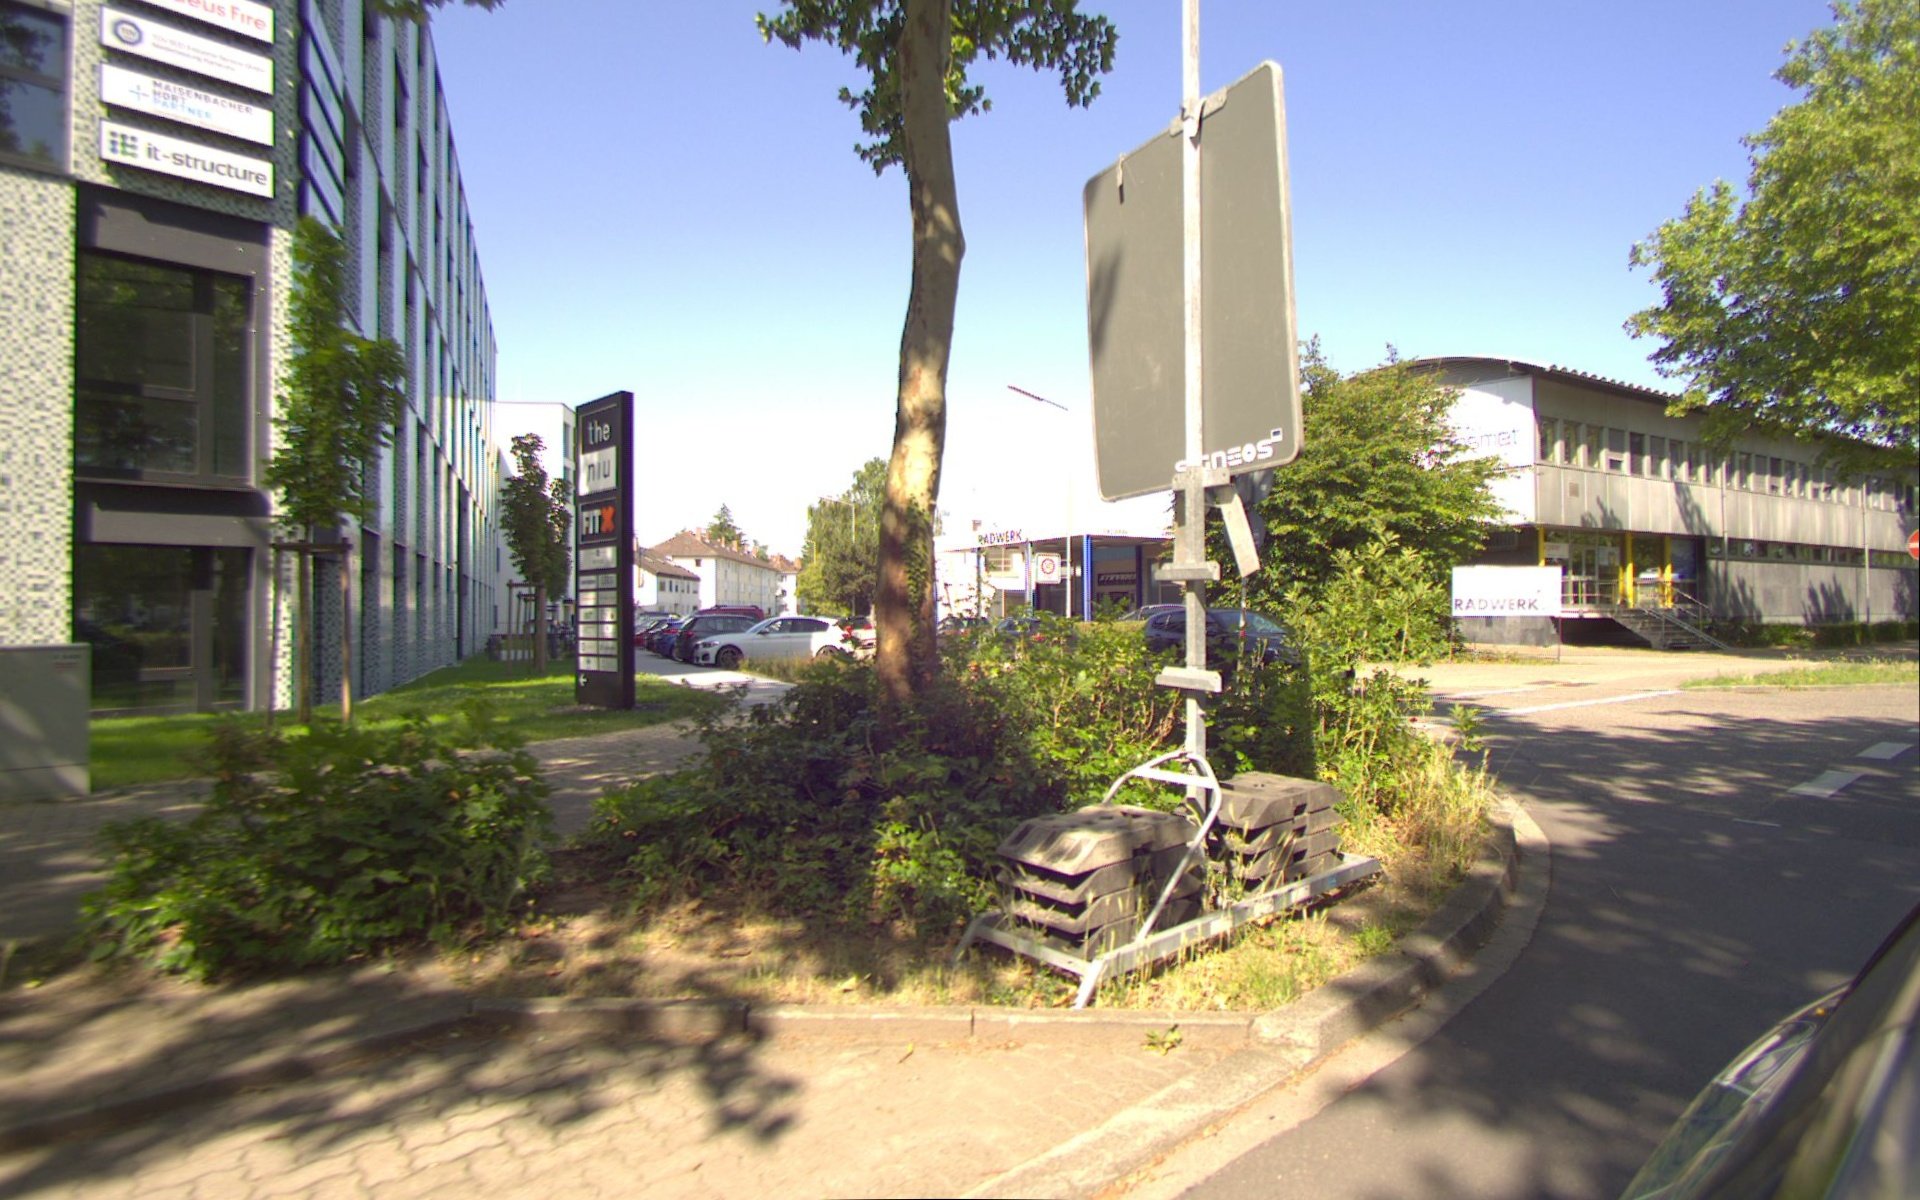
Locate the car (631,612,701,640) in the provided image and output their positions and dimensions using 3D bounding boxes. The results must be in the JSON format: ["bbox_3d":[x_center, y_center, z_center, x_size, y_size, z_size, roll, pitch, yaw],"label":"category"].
[{"bbox_3d":[-16.108,1.402,55.406,3.457,1.454,1.651,1,-1,-24],"label":"car"}]

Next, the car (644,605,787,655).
[{"bbox_3d":[-8.165,0.972,33.799,4.387,1.572,2.003,0,-2,-23],"label":"car"}]

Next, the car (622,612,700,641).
[{"bbox_3d":[-14.776,1.309,50.000,3.457,1.395,1.651,1,-1,-24],"label":"car"}]

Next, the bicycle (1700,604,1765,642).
[{"bbox_3d":[25.401,0.742,33.309,0.498,1.144,1.679,-1,1,-23],"label":"bicycle"}]

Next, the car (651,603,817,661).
[{"bbox_3d":[-6.547,0.914,29.269,4.387,1.572,2.003,1,-2,-23],"label":"car"}]

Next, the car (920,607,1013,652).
[{"bbox_3d":[0.171,1.073,37.173,1.958,1.572,4.006,1,-2,-23],"label":"car"}]

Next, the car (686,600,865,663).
[{"bbox_3d":[-4.953,0.824,27.144,4.387,1.572,2.003,1,-2,-23],"label":"car"}]

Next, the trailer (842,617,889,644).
[{"bbox_3d":[-4.612,1.460,48.961,1.564,1.195,3.233,-1,-1,-18],"label":"trailer"}]

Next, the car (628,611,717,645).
[{"bbox_3d":[-12.421,1.198,43.742,3.457,1.395,1.651,1,-1,-24],"label":"car"}]

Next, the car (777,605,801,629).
[{"bbox_3d":[-14.347,1.475,84.874,1.658,1.906,3.712,-1,-2,-5],"label":"car"}]

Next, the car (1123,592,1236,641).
[{"bbox_3d":[7.906,0.593,36.724,3.677,1.683,1.681,-1,-1,0],"label":"car"}]

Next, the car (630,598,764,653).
[{"bbox_3d":[-9.414,0.876,36.164,4.387,1.876,2.003,0,-2,-23],"label":"car"}]

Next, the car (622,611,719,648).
[{"bbox_3d":[-11.443,1.170,40.012,3.457,1.395,1.651,1,-1,-24],"label":"car"}]

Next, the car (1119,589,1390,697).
[{"bbox_3d":[4.723,0.664,16.933,1.959,1.537,4.267,-1,-1,-26],"label":"car"}]

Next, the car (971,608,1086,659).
[{"bbox_3d":[2.059,1.032,31.636,1.832,1.416,4.062,-2,-1,-25],"label":"car"}]

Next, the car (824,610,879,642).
[{"bbox_3d":[-5.633,1.336,52.000,1.958,1.537,4.269,-1,-1,-18],"label":"car"}]
